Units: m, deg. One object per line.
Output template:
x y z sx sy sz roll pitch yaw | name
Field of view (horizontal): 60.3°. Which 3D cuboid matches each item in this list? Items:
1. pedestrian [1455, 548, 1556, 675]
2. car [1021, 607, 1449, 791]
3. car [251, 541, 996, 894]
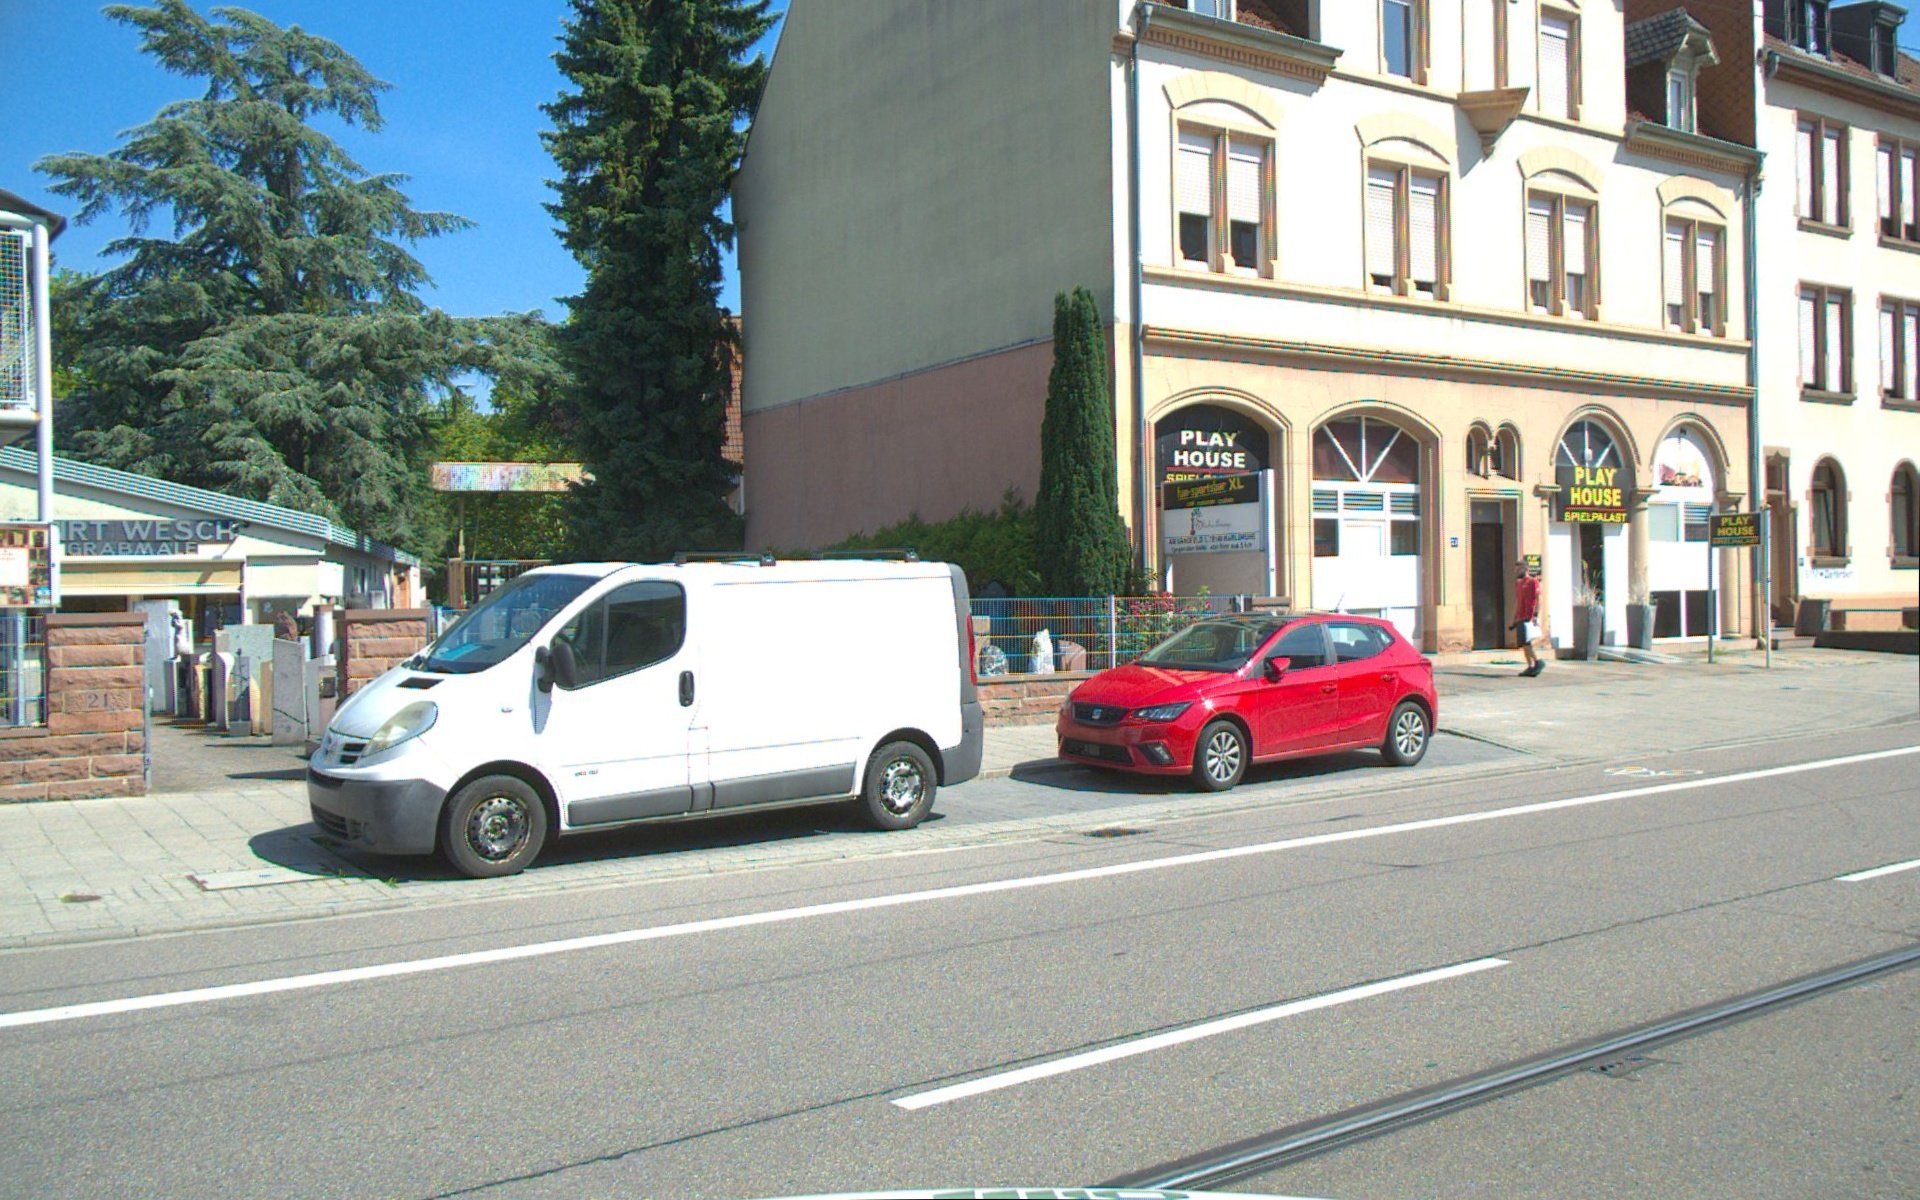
8.214 0.162 24.939 1.106 1.847 0.943 -1 0 -9 | pedestrian
2.634 0.835 15.452 3.959 1.431 1.703 -1 0 -37 | car
-2.285 0.648 11.899 4.854 2.049 2.064 -1 0 -37 | car
